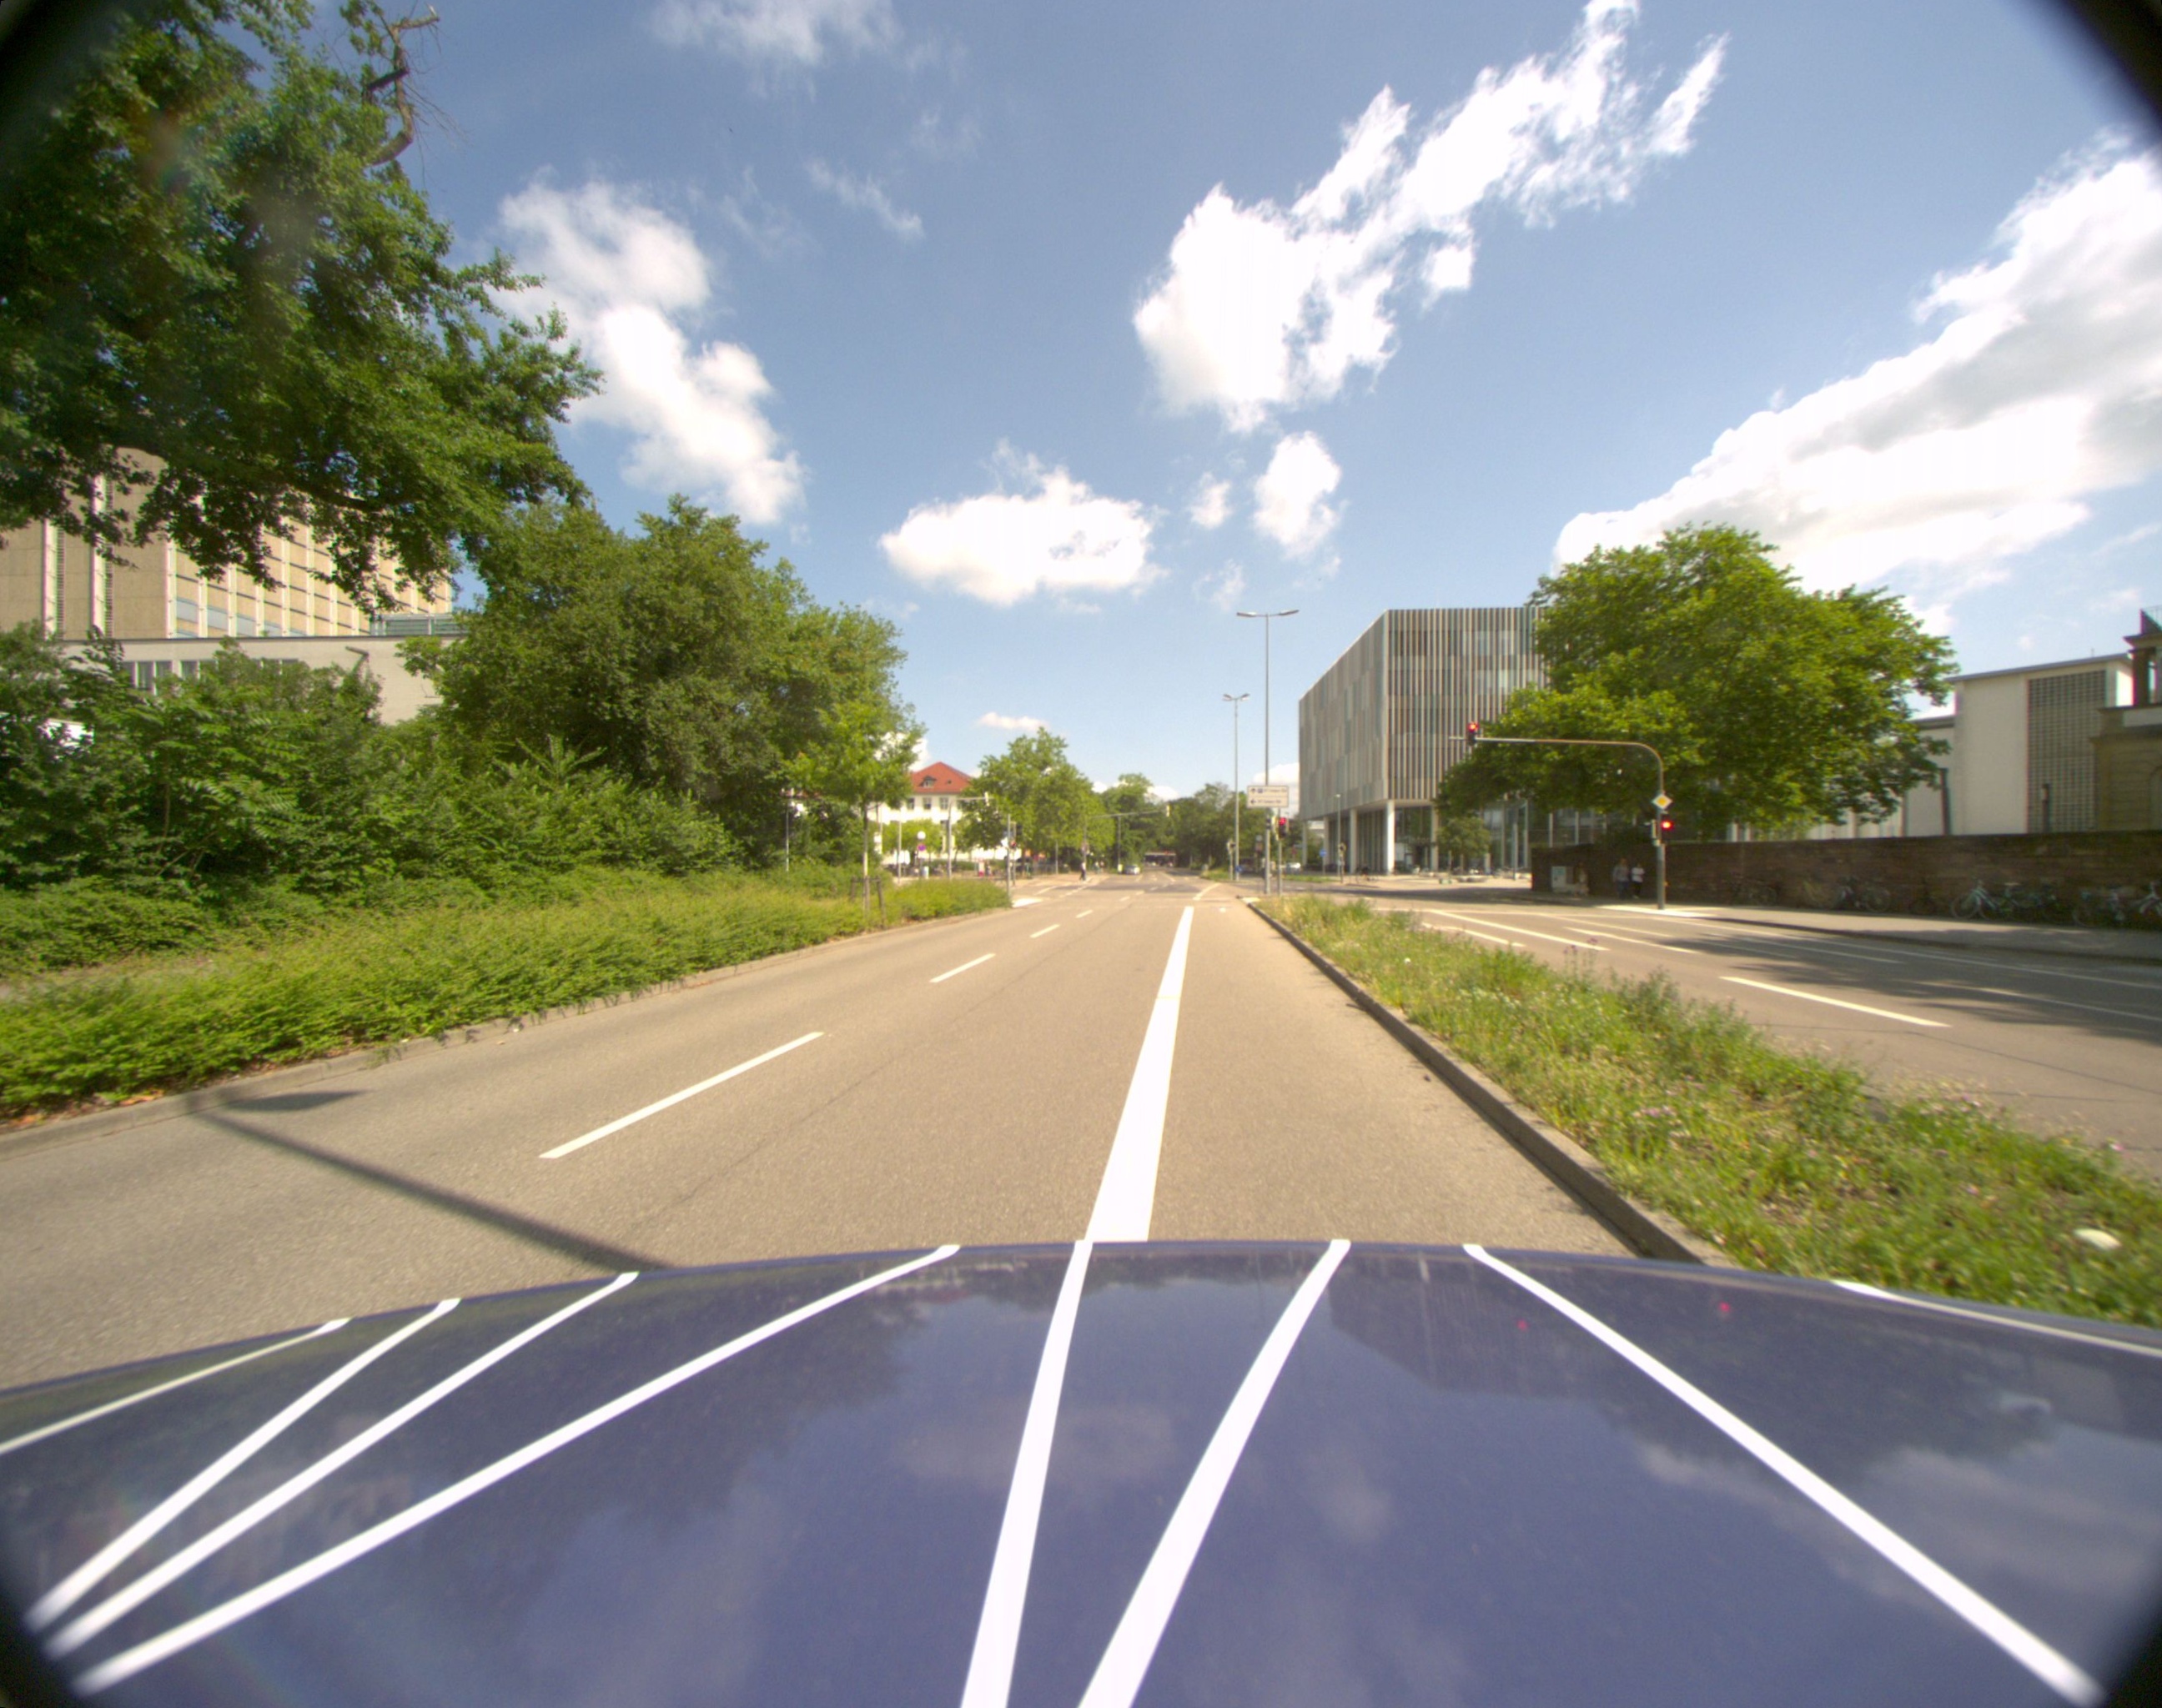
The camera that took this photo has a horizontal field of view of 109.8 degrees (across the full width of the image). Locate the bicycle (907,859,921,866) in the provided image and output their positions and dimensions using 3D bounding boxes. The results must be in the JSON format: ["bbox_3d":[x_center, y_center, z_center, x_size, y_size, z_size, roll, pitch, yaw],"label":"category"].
[{"bbox_3d":[-20.433,1.026,92.957,1.672,0.785,0.627,0,0,1],"label":"bicycle"}]

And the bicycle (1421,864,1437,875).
[{"bbox_3d":[35.168,1.535,76.792,2.223,1.090,0.720,0,0,-45],"label":"bicycle"}]

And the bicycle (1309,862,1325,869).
[{"bbox_3d":[35.969,1.800,115.688,2.216,1.083,0.723,0,0,1],"label":"bicycle"}]

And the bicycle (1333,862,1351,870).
[{"bbox_3d":[35.824,1.649,104.175,2.216,1.090,0.723,0,0,1],"label":"bicycle"}]

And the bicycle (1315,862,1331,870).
[{"bbox_3d":[35.800,1.796,112.343,2.216,1.090,0.723,0,0,1],"label":"bicycle"}]

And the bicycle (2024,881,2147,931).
[{"bbox_3d":[23.563,1.193,17.877,0.371,1.042,1.881,0,0,-1],"label":"bicycle"}]

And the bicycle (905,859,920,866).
[{"bbox_3d":[-20.365,1.001,92.056,1.672,0.785,0.627,0,0,1],"label":"bicycle"}]

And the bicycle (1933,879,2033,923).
[{"bbox_3d":[23.578,1.203,19.912,0.371,1.042,1.881,0,0,-1],"label":"bicycle"}]

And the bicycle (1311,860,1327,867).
[{"bbox_3d":[37.621,1.433,120.209,2.216,1.090,0.723,0,0,1],"label":"bicycle"}]

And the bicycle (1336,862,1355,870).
[{"bbox_3d":[35.261,1.588,101.373,2.216,1.090,0.723,0,0,1],"label":"bicycle"}]

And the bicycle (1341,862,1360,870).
[{"bbox_3d":[35.326,1.570,99.488,2.216,1.090,0.723,0,0,1],"label":"bicycle"}]

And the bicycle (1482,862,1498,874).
[{"bbox_3d":[38.520,1.306,71.548,2.223,1.090,0.720,0,0,-45],"label":"bicycle"}]

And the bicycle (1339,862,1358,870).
[{"bbox_3d":[35.357,1.609,100.368,2.216,1.090,0.755,0,0,1],"label":"bicycle"}]

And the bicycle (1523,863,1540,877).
[{"bbox_3d":[40.412,1.422,68.131,2.323,1.183,0.745,0,0,-45],"label":"bicycle"}]

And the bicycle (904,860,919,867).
[{"bbox_3d":[-20.339,1.120,91.275,1.672,0.785,0.627,0,0,1],"label":"bicycle"}]

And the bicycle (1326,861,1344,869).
[{"bbox_3d":[35.356,1.527,105.781,2.216,1.090,0.723,0,0,1],"label":"bicycle"}]

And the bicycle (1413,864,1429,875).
[{"bbox_3d":[34.612,1.542,77.316,2.223,1.090,0.720,0,0,-45],"label":"bicycle"}]

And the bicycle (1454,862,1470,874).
[{"bbox_3d":[36.827,1.337,73.455,2.223,1.090,0.720,0,0,-45],"label":"bicycle"}]

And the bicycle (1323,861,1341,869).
[{"bbox_3d":[35.227,1.515,106.732,2.216,1.090,0.723,0,0,1],"label":"bicycle"}]

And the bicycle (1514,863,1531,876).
[{"bbox_3d":[40.158,1.433,69.153,2.323,1.183,0.745,0,0,-45],"label":"bicycle"}]

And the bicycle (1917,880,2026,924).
[{"bbox_3d":[22.988,1.212,19.676,0.593,1.042,1.881,0,0,-1],"label":"bicycle"}]

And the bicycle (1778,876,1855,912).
[{"bbox_3d":[23.503,1.261,24.328,0.631,1.042,1.881,0,0,-1],"label":"bicycle"}]

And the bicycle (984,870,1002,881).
[{"bbox_3d":[-6.590,1.612,56.952,0.621,0.828,1.510,0,0,-42],"label":"bicycle"}]

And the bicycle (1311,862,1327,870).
[{"bbox_3d":[35.918,1.796,114.688,2.216,1.090,0.723,0,0,1],"label":"bicycle"}]

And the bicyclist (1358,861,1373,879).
[{"bbox_3d":[22.860,1.299,61.015,0.944,1.456,0.633,0,0,40],"label":"bicyclist"}]

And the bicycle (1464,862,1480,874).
[{"bbox_3d":[37.457,1.325,72.818,2.223,1.090,0.720,0,0,-45],"label":"bicycle"}]

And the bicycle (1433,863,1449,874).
[{"bbox_3d":[35.664,1.440,75.258,2.223,1.090,0.720,0,0,-45],"label":"bicycle"}]

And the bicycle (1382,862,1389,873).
[{"bbox_3d":[31.951,1.413,79.827,0.547,1.090,1.636,0,0,17],"label":"bicycle"}]

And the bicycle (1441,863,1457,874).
[{"bbox_3d":[36.223,1.426,74.711,2.223,1.090,0.720,0,0,-45],"label":"bicycle"}]

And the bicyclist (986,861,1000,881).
[{"bbox_3d":[-6.580,1.285,56.946,0.614,1.498,0.916,0,0,-42],"label":"bicyclist"}]

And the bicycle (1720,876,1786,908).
[{"bbox_3d":[23.498,1.301,26.610,0.631,1.042,1.881,0,0,-1],"label":"bicycle"}]

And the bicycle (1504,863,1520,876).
[{"bbox_3d":[39.590,1.447,69.782,2.323,1.183,0.745,0,0,-45],"label":"bicycle"}]

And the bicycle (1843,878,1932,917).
[{"bbox_3d":[23.453,1.241,22.155,0.565,1.042,1.881,0,0,-1],"label":"bicycle"}]

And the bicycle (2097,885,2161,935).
[{"bbox_3d":[23.290,1.210,16.193,0.594,1.042,1.878,0,0,-16],"label":"bicycle"}]

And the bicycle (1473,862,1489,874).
[{"bbox_3d":[37.965,1.299,72.081,2.223,1.090,0.720,0,0,-45],"label":"bicycle"}]
